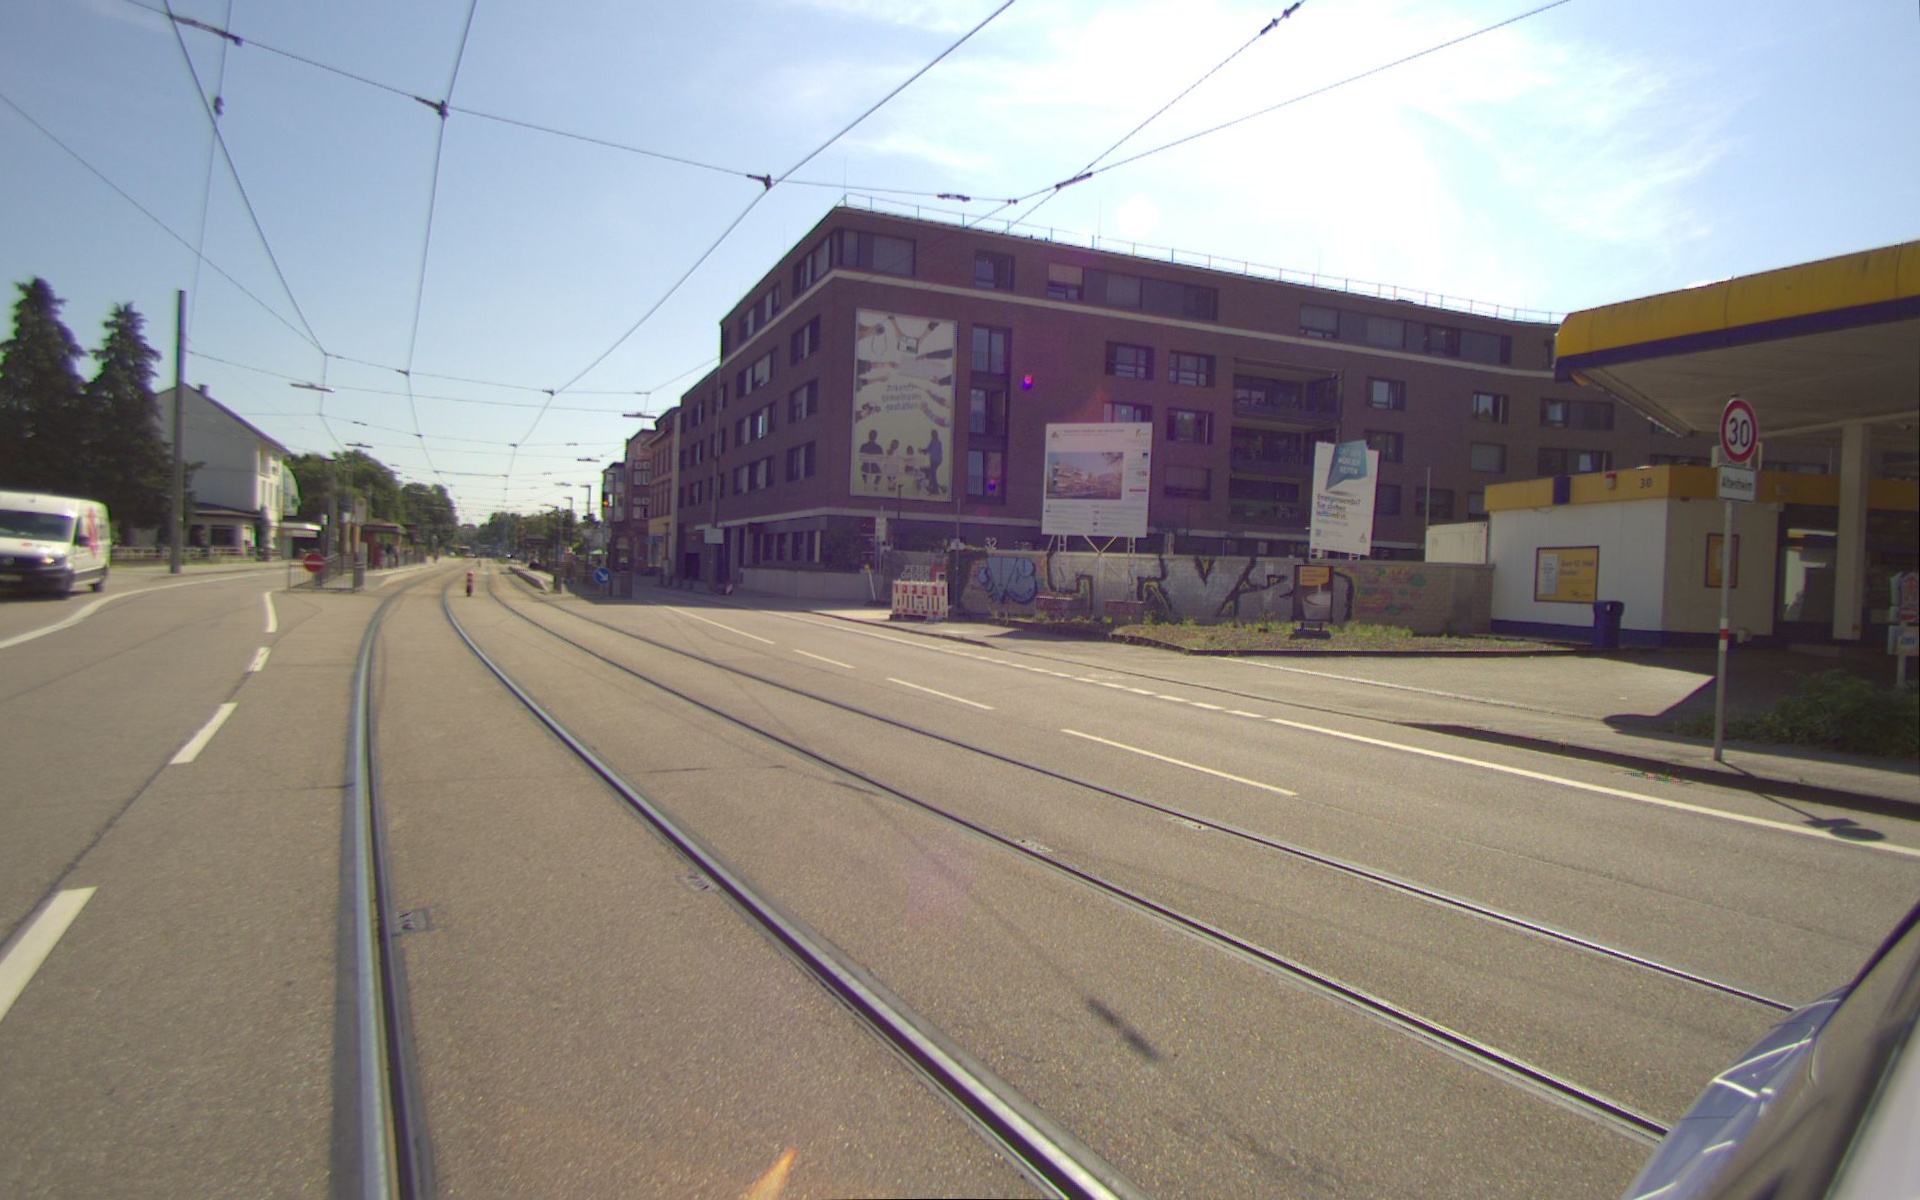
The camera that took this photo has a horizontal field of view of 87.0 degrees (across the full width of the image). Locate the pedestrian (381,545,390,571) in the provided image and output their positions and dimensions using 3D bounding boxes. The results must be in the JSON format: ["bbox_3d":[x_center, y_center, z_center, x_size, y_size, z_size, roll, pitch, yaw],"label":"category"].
[{"bbox_3d":[-38.932,-2.829,68.571,0.409,1.711,0.707,1,1,-40],"label":"pedestrian"}]

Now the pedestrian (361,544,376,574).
[{"bbox_3d":[-34.334,-2.398,58.791,0.694,1.711,0.416,1,1,-34],"label":"pedestrian"}]

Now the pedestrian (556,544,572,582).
[{"bbox_3d":[-18.681,-1.761,47.739,0.547,1.781,0.794,1,2,-32],"label":"pedestrian"}]

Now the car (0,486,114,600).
[{"bbox_3d":[-23.994,-1.494,26.130,2.291,2.567,6.513,4,0,-32],"label":"car"}]
